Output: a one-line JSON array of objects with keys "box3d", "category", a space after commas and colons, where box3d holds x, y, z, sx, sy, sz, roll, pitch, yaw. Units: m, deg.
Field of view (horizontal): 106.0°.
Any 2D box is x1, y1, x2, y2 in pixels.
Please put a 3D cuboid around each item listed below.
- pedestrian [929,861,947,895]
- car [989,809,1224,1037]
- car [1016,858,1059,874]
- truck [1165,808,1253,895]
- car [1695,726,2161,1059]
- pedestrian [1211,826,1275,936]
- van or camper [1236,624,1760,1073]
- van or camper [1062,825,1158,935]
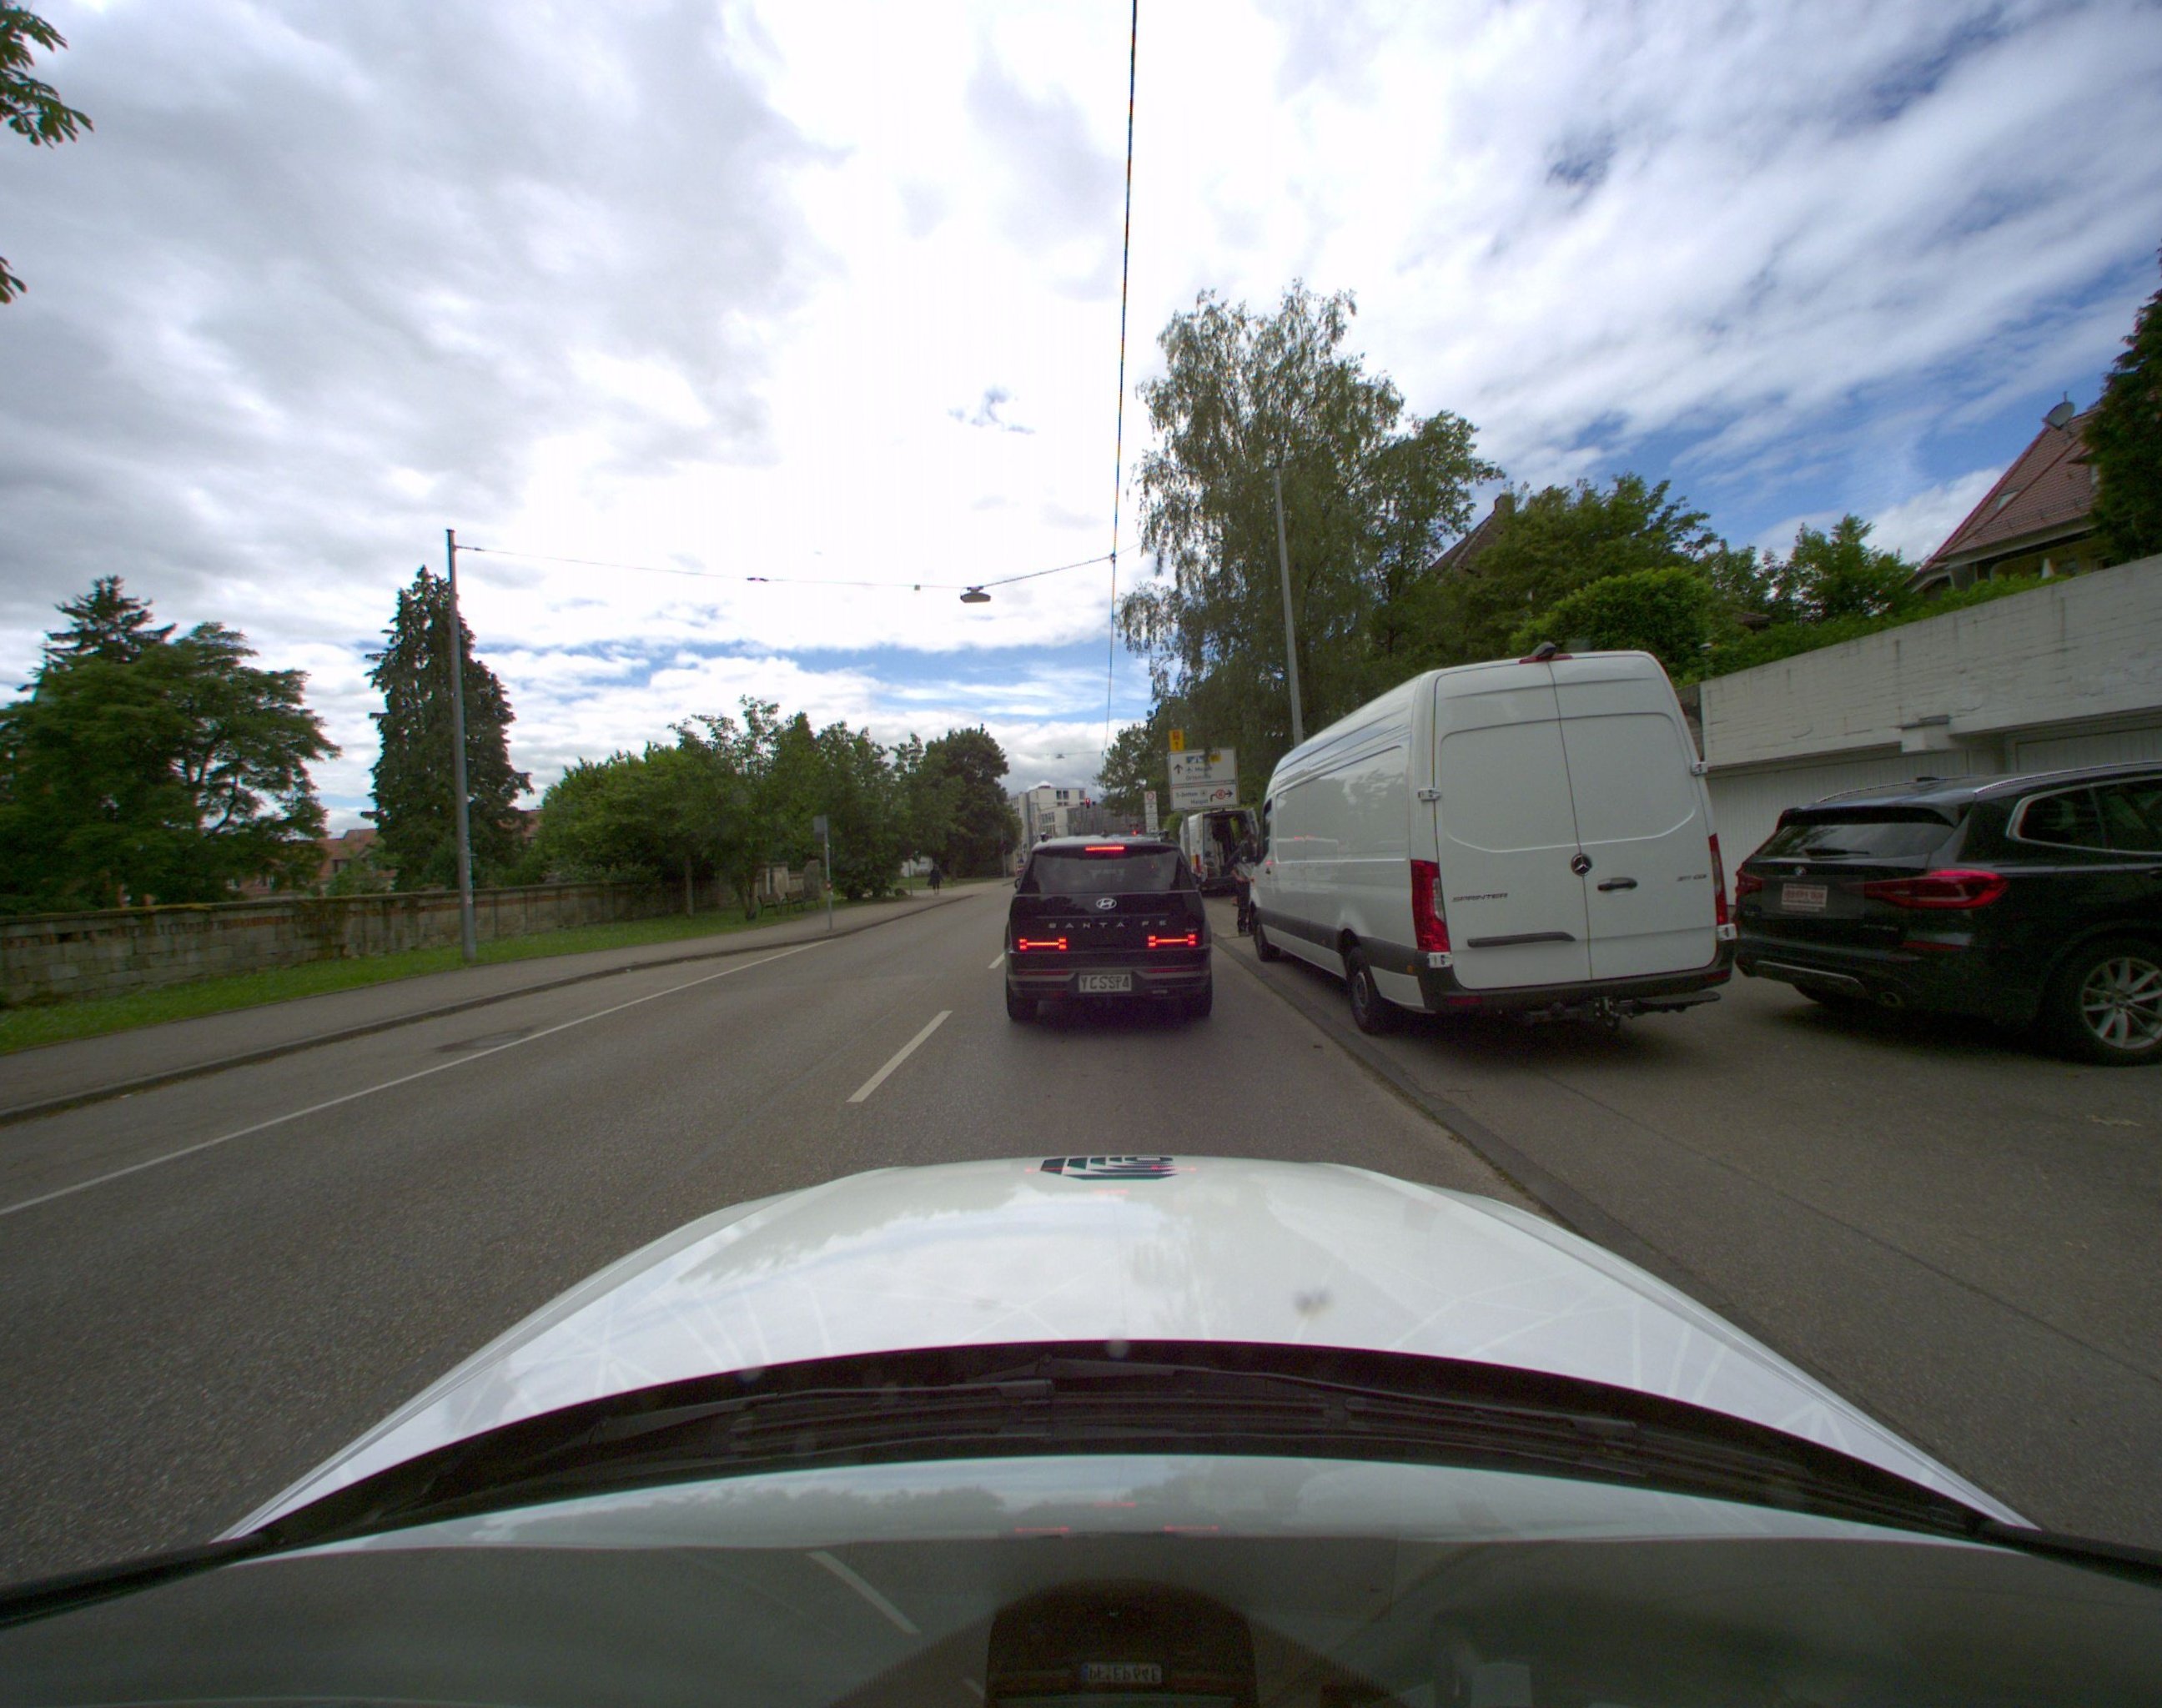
[{"box3d": [-7.396, 1.217, 42.157, 0.737, 1.715, 0.791, -3, 0, -5], "category": "pedestrian"}, {"box3d": [0.270, 0.564, 8.669, 1.883, 1.819, 4.002, -2, 0, 2], "category": "car"}, {"box3d": [-4.822, 1.285, 89.784, 4.697, 1.748, 1.997, 0, -1, -5], "category": "car"}, {"box3d": [4.279, -0.046, 28.114, 1.937, 2.561, 5.213, -5, -1, -1], "category": "truck"}, {"box3d": [6.866, 0.128, 5.229, 4.398, 1.750, 1.739, -3, 0, 3], "category": "car"}, {"box3d": [2.765, 0.444, 14.007, 0.867, 1.797, 0.760, -3, 0, 1], "category": "pedestrian"}, {"box3d": [3.137, -0.030, 8.199, 1.986, 2.620, 6.543, -3, 0, 2], "category": "van or camper"}, {"box3d": [0.618, 0.506, 17.612, 1.748, 2.013, 4.002, -3, 0, 2], "category": "van or camper"}]
